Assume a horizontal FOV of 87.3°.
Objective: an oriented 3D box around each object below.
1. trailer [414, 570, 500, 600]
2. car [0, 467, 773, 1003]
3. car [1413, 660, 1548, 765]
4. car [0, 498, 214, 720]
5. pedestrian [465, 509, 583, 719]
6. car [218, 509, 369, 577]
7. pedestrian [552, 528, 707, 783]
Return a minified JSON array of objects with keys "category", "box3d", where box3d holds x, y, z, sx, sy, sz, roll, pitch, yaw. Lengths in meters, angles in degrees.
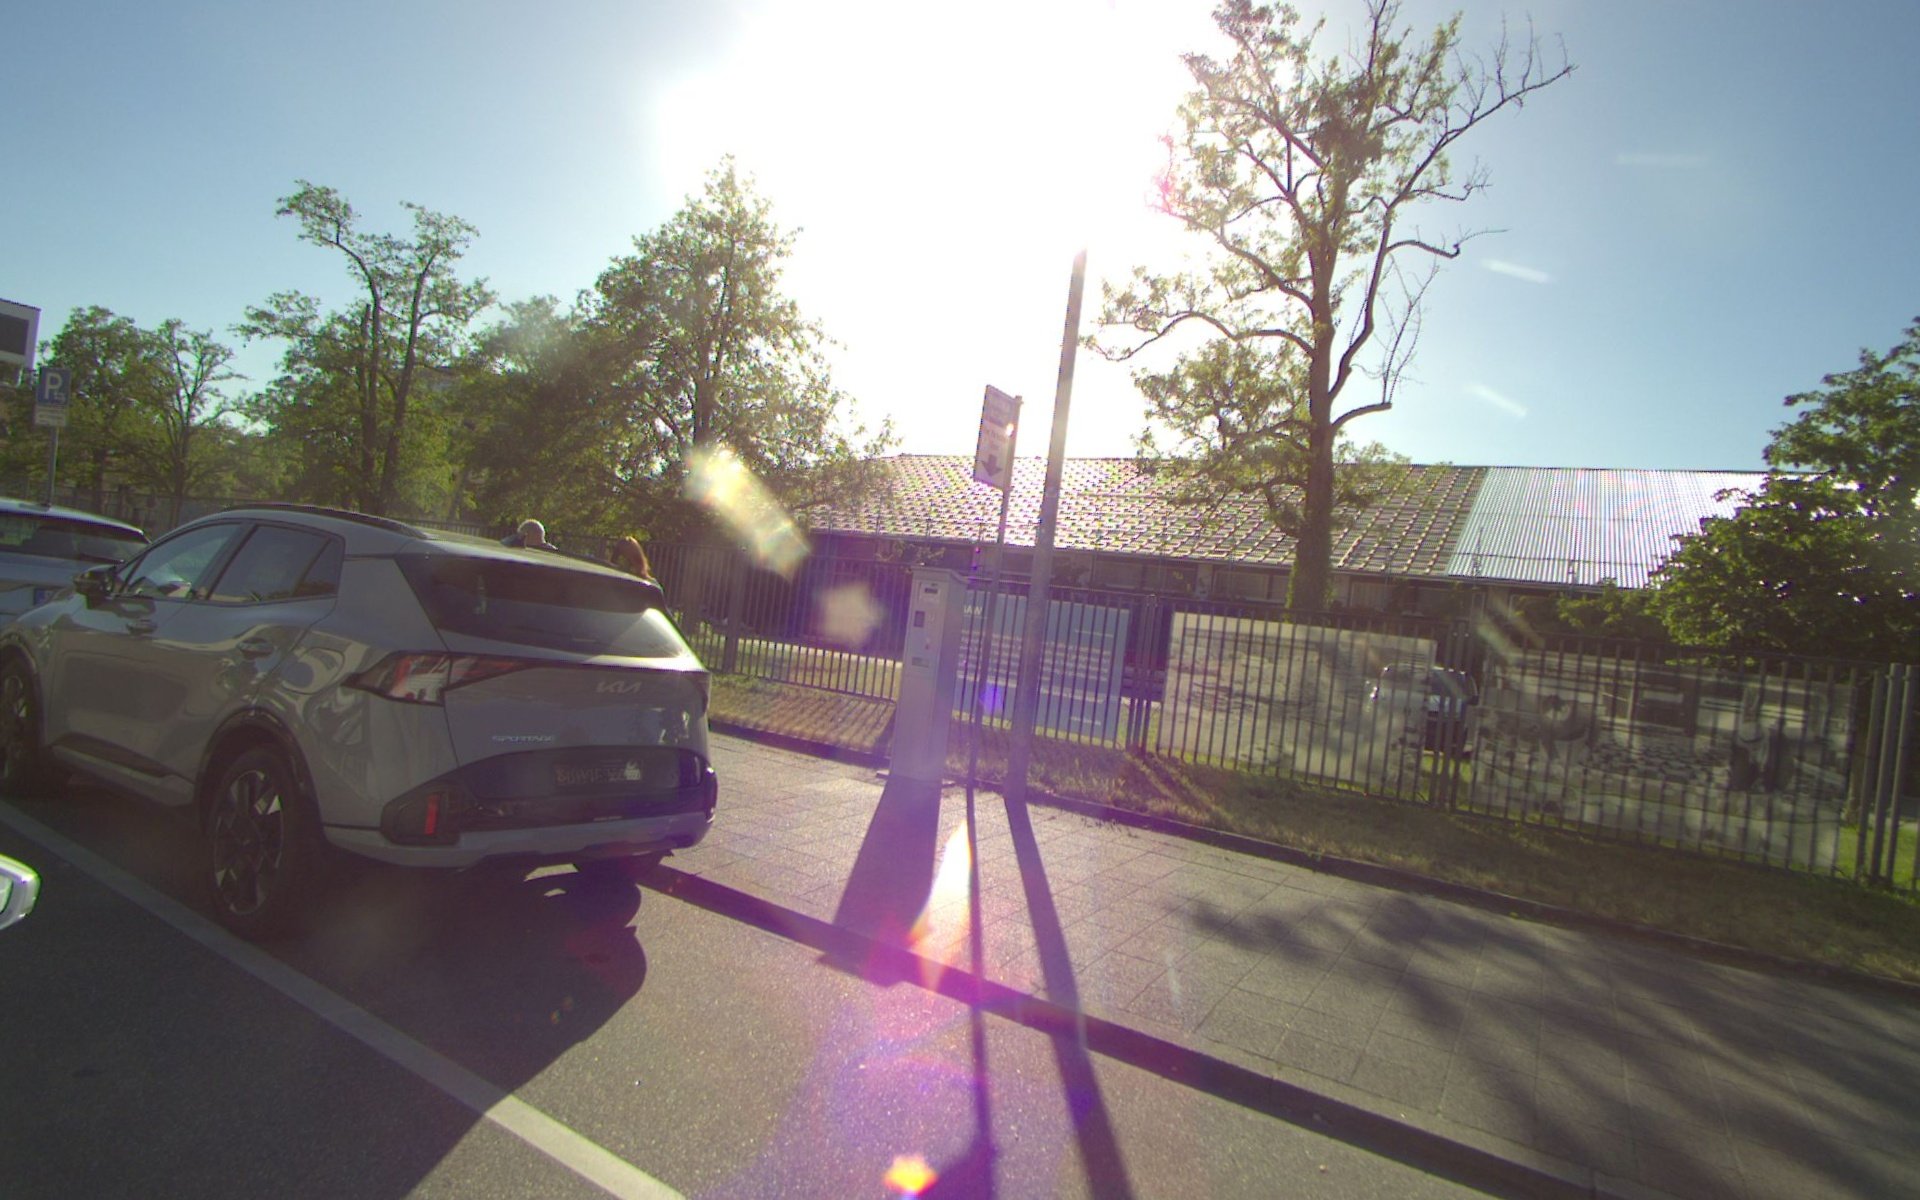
[{"category":"trailer","box3d":[-24.963,-0.749,49.810,5.035,0.930,1.897,6,-2,40]},{"category":"car","box3d":[-3.224,0.377,5.109,4.280,1.624,1.704,7,-2,32]},{"category":"car","box3d":[10.815,2.354,20.920,2.059,1.662,4.982,7,-3,28]},{"category":"car","box3d":[-8.071,-0.102,8.100,3.912,1.504,1.706,7,-2,29]},{"category":"pedestrian","box3d":[-3.762,0.130,8.694,0.513,1.727,0.522,6,-2,29]},{"category":"car","box3d":[-30.749,-2.589,46.585,1.969,2.228,5.286,8,-1,37]},{"category":"pedestrian","box3d":[-2.266,0.382,6.894,0.678,1.629,0.535,9,-2,-36]}]
